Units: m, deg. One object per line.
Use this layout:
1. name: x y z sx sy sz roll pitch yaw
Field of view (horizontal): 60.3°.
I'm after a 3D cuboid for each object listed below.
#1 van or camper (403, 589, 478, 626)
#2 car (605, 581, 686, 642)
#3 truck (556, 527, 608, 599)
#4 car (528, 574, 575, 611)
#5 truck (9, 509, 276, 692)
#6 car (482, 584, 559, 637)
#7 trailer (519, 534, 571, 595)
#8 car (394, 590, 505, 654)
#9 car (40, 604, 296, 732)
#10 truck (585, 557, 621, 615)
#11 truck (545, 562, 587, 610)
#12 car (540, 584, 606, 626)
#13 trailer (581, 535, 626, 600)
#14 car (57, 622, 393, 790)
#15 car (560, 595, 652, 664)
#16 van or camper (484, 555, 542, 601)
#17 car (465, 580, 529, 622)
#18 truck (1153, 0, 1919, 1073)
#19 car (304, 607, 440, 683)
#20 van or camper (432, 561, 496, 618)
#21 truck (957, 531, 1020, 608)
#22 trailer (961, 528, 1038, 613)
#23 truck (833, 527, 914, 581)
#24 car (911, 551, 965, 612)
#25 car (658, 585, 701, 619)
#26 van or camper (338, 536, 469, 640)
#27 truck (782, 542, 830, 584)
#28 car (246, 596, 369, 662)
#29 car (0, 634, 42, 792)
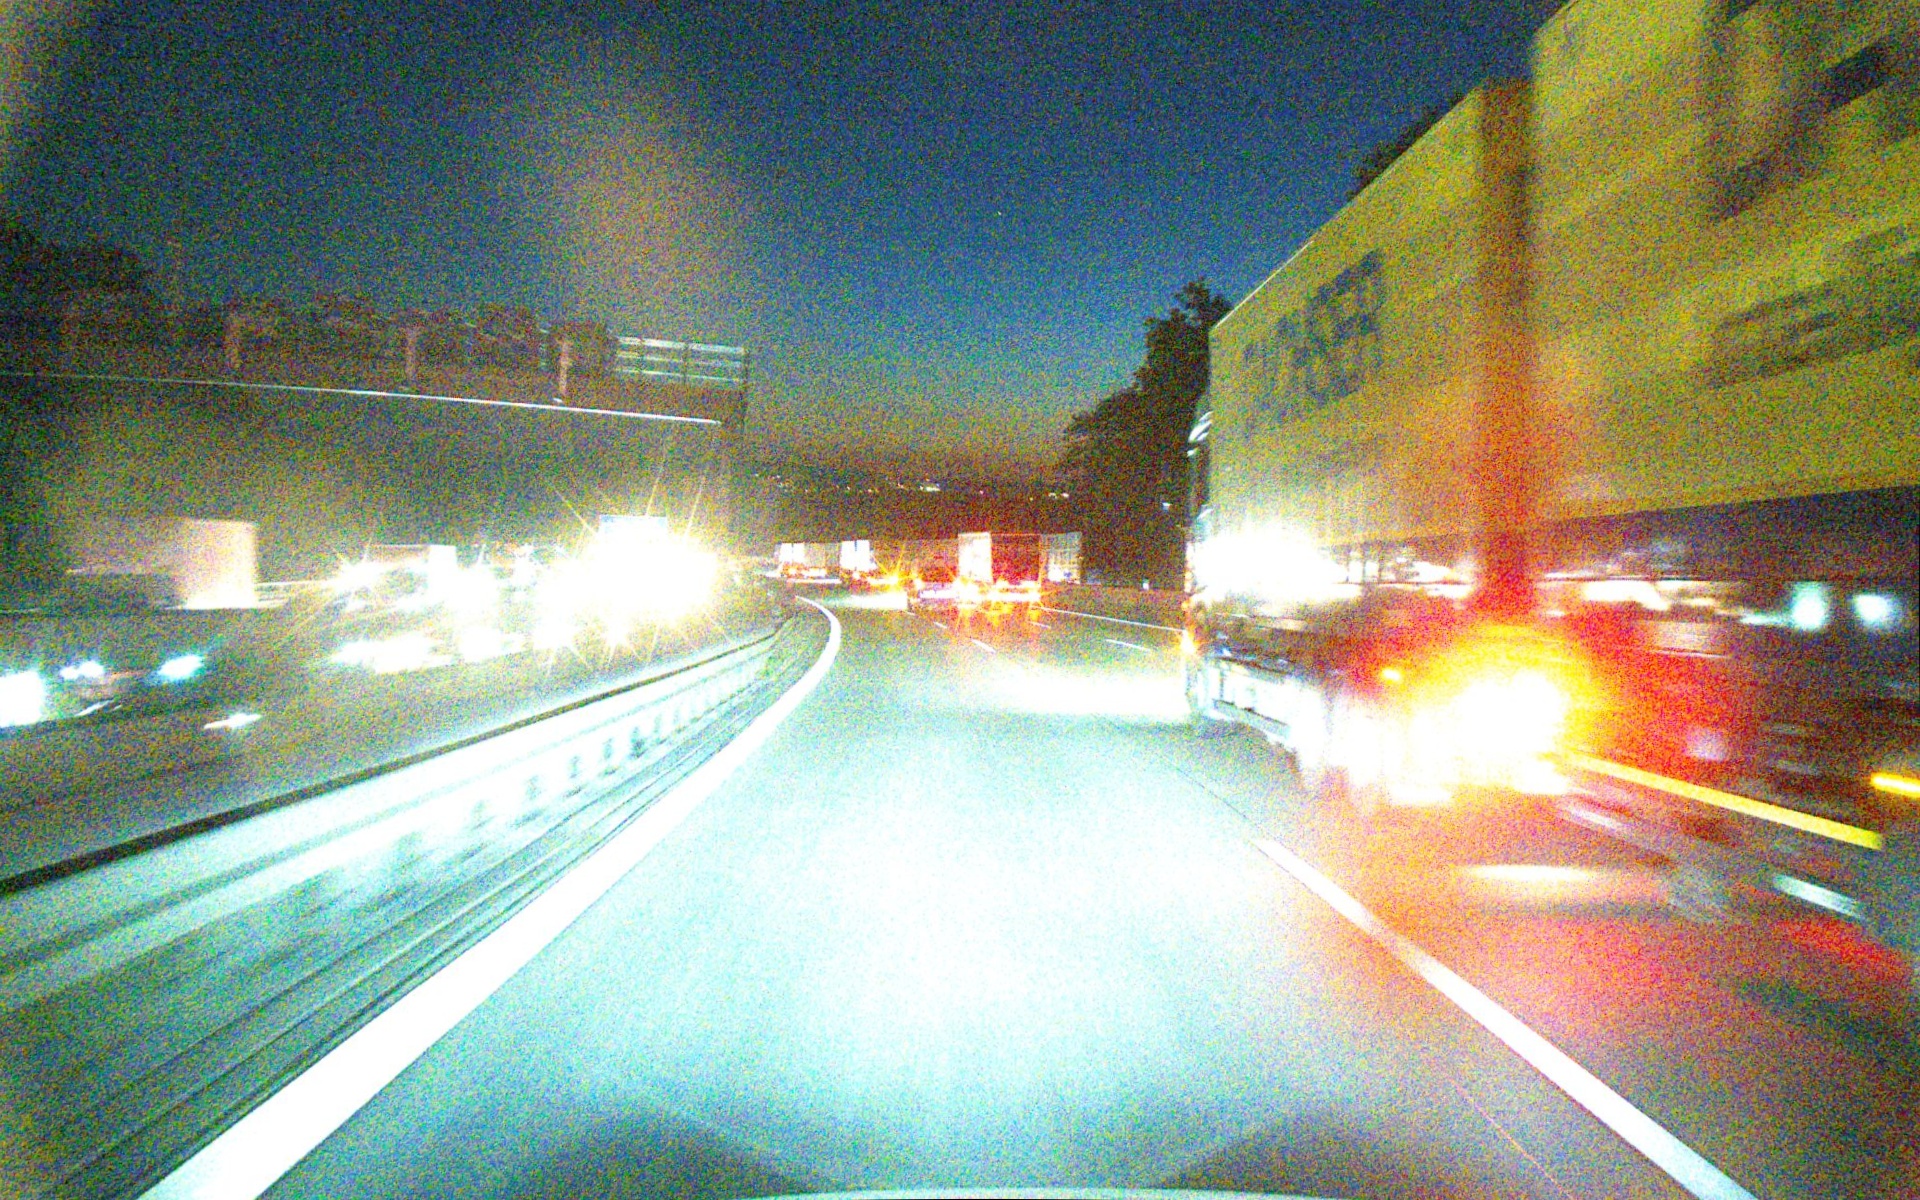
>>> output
1. van or camper: -24.192 0.334 77.197 2.178 1.577 5.212 0 1 -4
2. car: -9.619 0.304 50.948 1.771 1.771 4.865 -1 0 -3
3. truck: -23.154 -2.274 101.537 2.813 4.283 6.092 0 1 -10
4. car: -19.963 -0.399 81.015 1.851 1.705 5.069 0 1 -10
5. truck: -16.594 -0.004 34.234 2.329 3.317 7.713 -1 0 -6
6. car: -13.723 0.301 51.827 1.608 1.566 3.996 -1 0 -5
7. trailer: -31.477 -2.714 125.877 2.788 4.244 13.252 -2 2 -10
8. car: -12.704 0.505 41.396 1.608 1.509 4.361 -1 0 -3
9. car: -11.881 0.945 25.186 1.954 1.689 4.451 0 1 -4
10. truck: -27.224 -1.078 126.295 2.569 4.343 5.942 0 1 -11
11. truck: -21.333 -0.798 89.713 1.958 2.501 5.038 0 1 -11
12. car: -14.190 0.162 60.866 1.664 1.489 3.481 0 1 -1
13. trailer: -28.619 -2.634 133.051 2.793 4.537 14.481 -9 3 -12
14. car: -7.415 0.986 17.179 1.719 1.378 4.290 0 1 -3
15. car: -8.828 0.697 41.546 1.647 1.593 3.997 -1 1 -3
16. van or camper: -26.483 -1.358 98.252 2.534 2.638 7.099 0 1 -8
17. car: -18.959 0.043 67.908 1.890 1.682 4.728 0 0 -8
18. truck: 4.055 -0.915 9.229 3.411 4.207 18.706 2 0 -1
19. car: -11.973 0.873 33.926 1.503 1.359 4.217 -1 1 -4
20. van or camper: -24.818 -0.593 82.963 1.955 2.702 6.608 0 1 -7
21. truck: 1.523 -1.740 92.422 2.805 4.147 7.505 0 1 -4
22. trailer: 1.917 -1.593 87.137 2.798 4.138 13.195 0 2 -4
23. truck: -8.293 -4.154 153.540 3.848 4.708 20.947 -1 1 -13
24. car: -1.061 -0.802 76.379 2.290 2.686 5.245 1 -1 -2
25. car: -10.830 0.060 63.987 1.390 1.278 3.126 0 1 -5
26. van or camper: -17.346 -0.432 51.990 2.178 3.055 7.119 0 1 -4
27. truck: -18.055 -4.332 192.720 3.288 4.553 13.859 3 1 -14
28. car: -16.708 0.704 42.551 1.608 1.566 4.435 -1 0 -3
29. car: -11.816 1.325 17.705 1.702 1.774 4.000 -1 0 0
